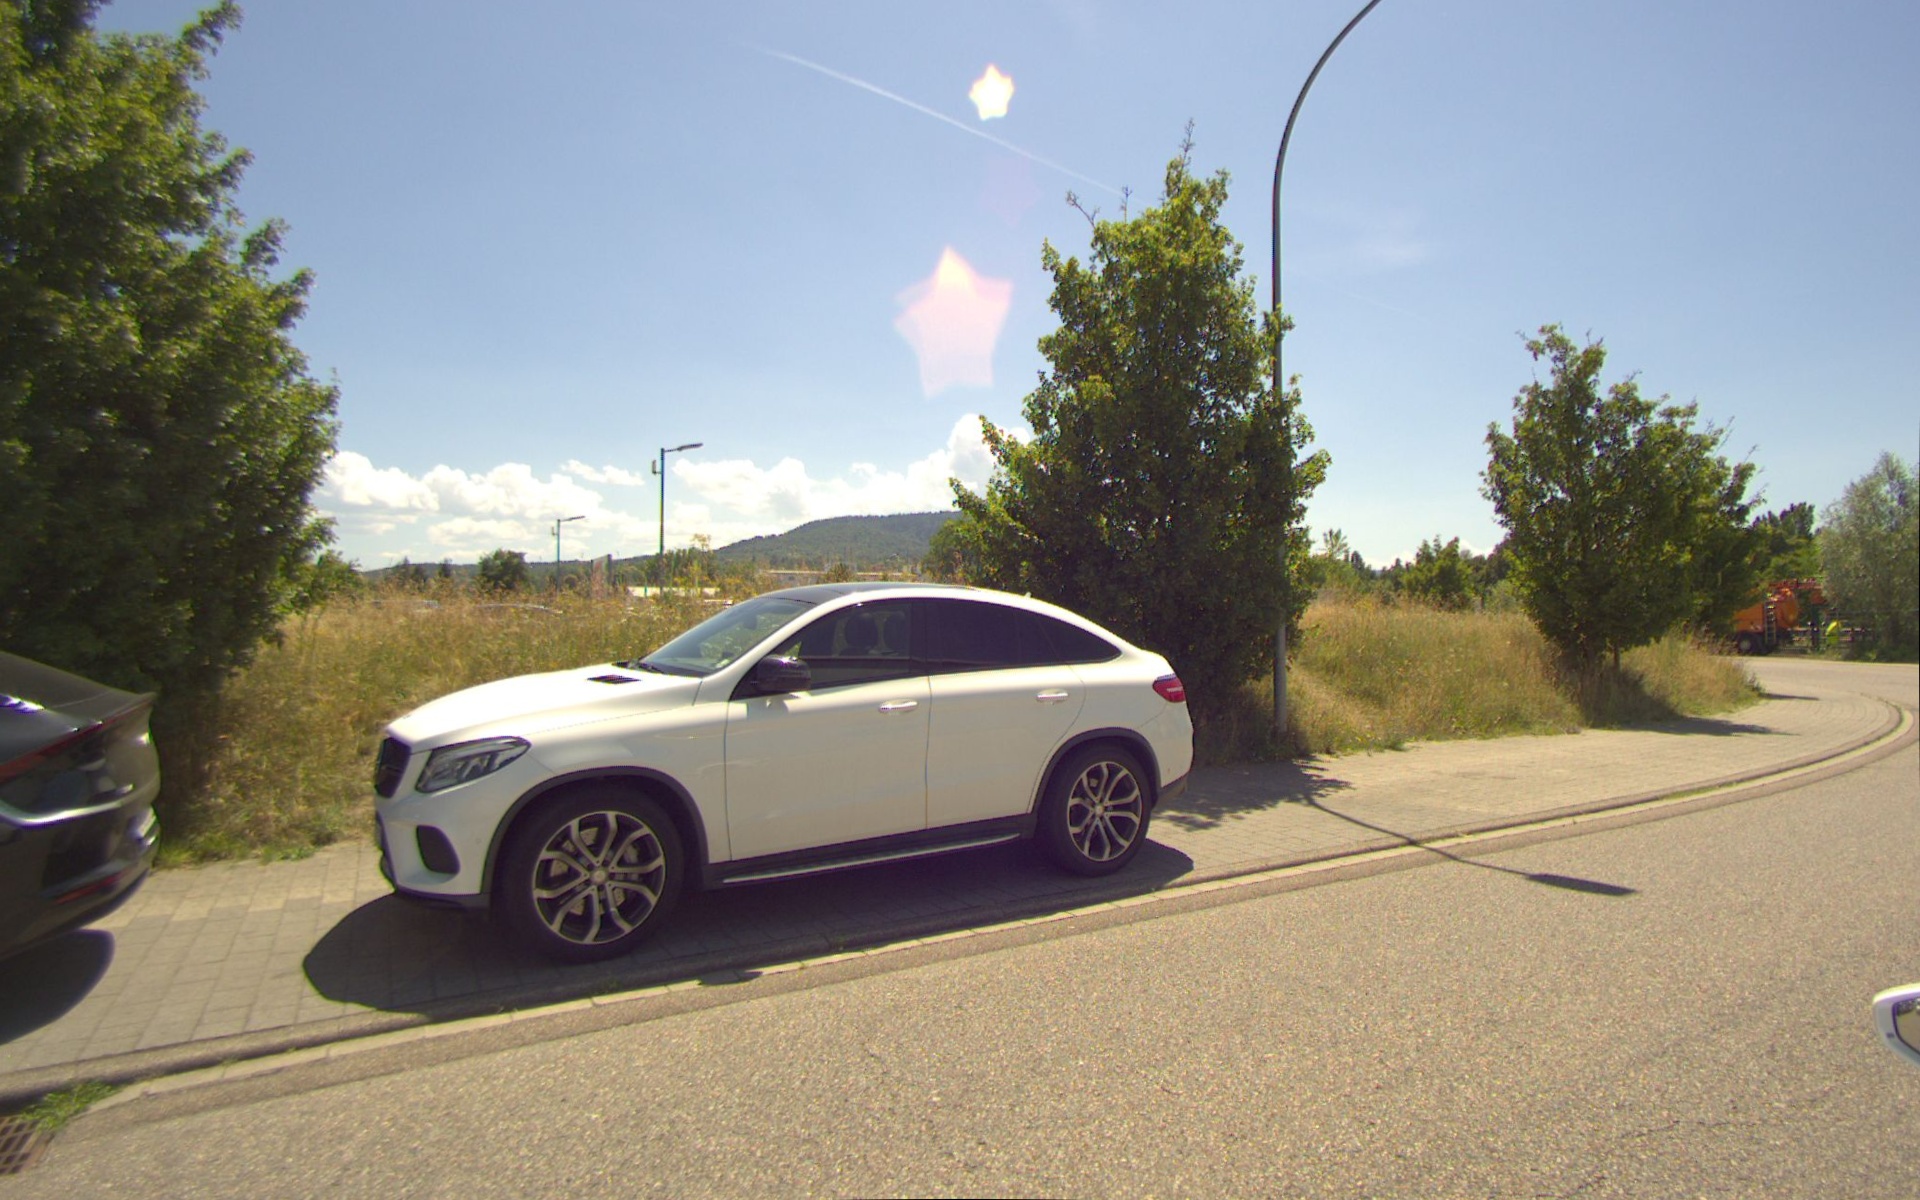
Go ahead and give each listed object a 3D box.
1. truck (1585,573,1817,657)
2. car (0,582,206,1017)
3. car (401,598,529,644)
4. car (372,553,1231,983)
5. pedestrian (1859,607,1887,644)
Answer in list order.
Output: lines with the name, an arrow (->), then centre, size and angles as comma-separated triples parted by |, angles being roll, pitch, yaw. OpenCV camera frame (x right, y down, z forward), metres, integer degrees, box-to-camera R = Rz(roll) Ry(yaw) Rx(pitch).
truck -> 37.070, 0.806, 50.640 | 4.120, 3.856, 8.533 | 1, -2, -33
car -> -5.299, 0.665, 3.310 | 4.366, 1.511, 1.901 | 1, 0, -34
car -> -17.769, 0.727, 36.067 | 3.955, 1.565, 1.983 | 1, 0, -32
car -> -0.768, 0.707, 5.980 | 4.700, 1.677, 1.903 | 1, -2, -31
pedestrian -> 45.665, 1.256, 50.240 | 0.732, 1.849, 0.871 | 1, 0, -32
